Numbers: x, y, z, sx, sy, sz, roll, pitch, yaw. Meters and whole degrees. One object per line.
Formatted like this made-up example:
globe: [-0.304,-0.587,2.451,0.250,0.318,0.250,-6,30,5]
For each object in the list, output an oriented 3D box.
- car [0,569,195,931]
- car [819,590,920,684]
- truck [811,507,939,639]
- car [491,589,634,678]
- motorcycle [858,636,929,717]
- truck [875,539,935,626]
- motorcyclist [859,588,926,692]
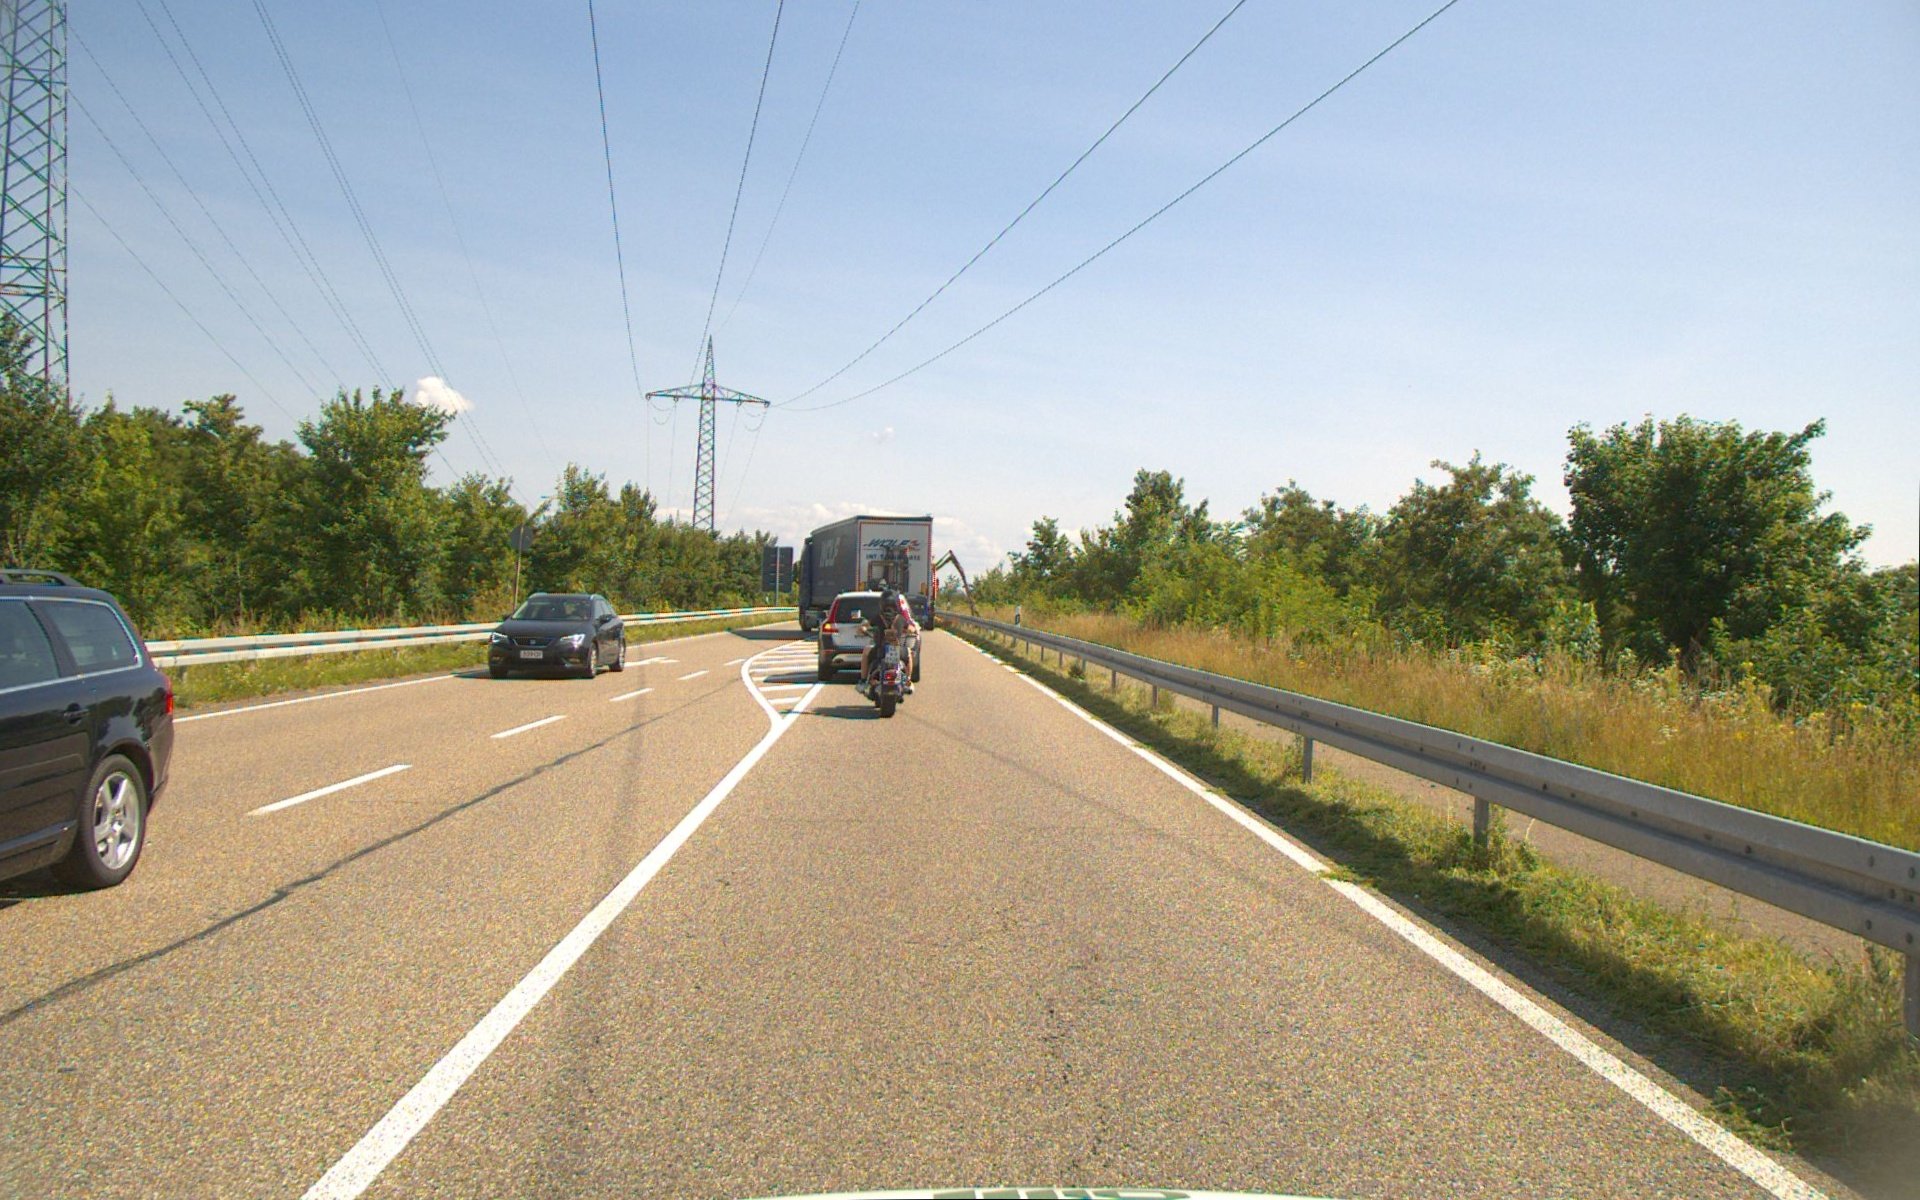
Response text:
car: [-4.853,0.618,6.585,1.693,1.517,4.420,1,0,-3]
car: [-1.593,0.628,29.730,1.667,1.563,3.497,1,0,-2]
truck: [-3.442,-0.915,61.665,2.914,4.260,14.786,1,0,-10]
car: [-7.013,0.548,29.575,1.626,1.467,4.213,1,0,-2]
motorcycle: [-0.887,0.964,21.363,0.842,0.931,2.226,1,0,-4]
truck: [-2.577,-0.769,76.241,2.562,3.776,6.773,1,0,-3]
motorcyclist: [-0.881,0.509,21.418,0.821,1.303,0.918,1,0,-4]
